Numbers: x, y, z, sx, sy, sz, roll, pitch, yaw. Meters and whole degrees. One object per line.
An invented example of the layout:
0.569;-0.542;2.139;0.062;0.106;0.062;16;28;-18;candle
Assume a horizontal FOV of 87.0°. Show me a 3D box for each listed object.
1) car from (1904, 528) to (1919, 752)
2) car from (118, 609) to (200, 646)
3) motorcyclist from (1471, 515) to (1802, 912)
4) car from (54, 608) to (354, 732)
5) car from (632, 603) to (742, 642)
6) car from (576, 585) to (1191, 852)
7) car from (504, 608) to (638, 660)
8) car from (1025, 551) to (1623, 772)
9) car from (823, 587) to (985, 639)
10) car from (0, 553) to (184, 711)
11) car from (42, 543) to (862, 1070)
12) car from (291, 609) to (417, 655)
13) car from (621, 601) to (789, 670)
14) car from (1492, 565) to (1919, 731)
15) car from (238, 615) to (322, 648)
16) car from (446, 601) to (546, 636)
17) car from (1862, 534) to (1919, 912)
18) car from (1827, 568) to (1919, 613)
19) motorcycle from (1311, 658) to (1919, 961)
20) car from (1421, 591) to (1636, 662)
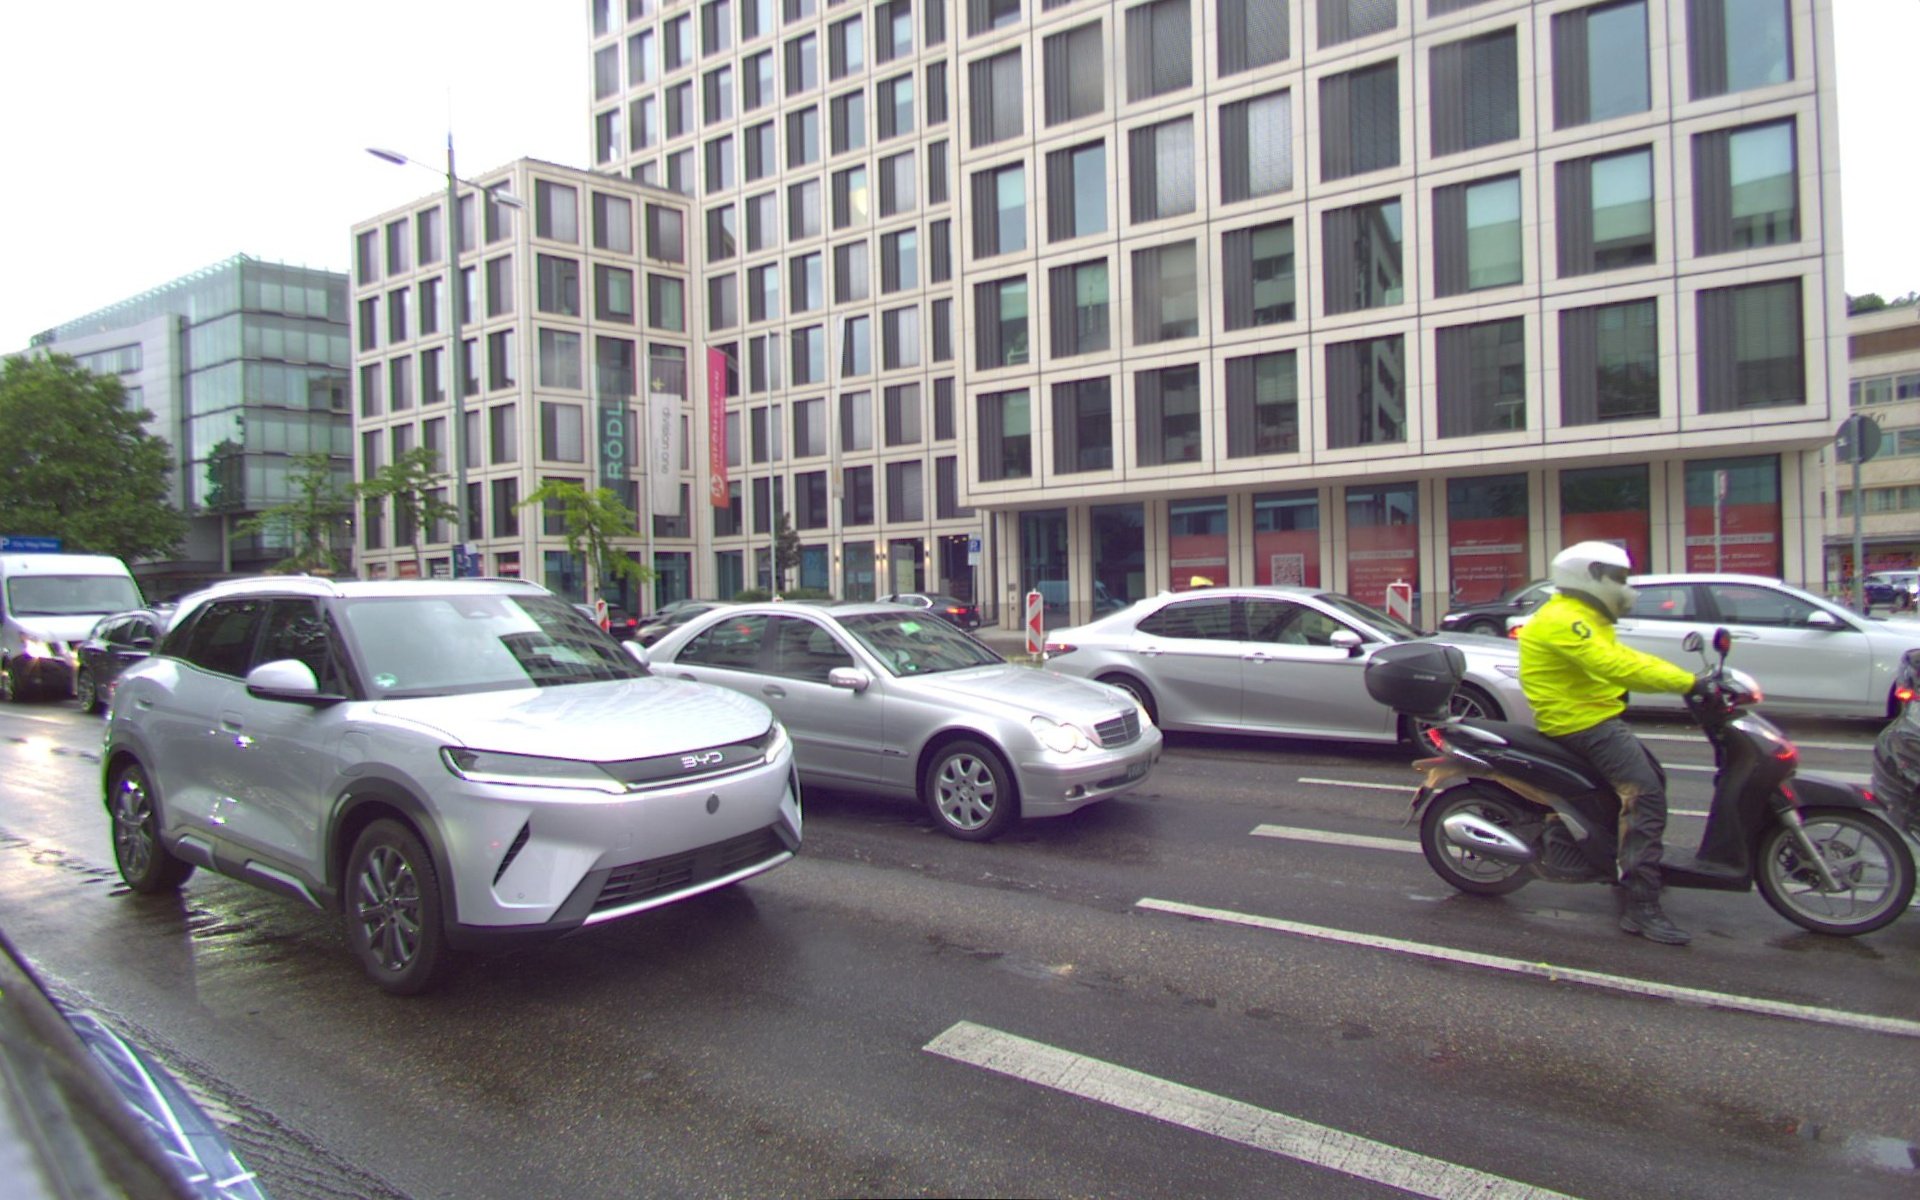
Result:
8.453;0.293;5.895;3.982;1.628;1.722;-1;1;29;car
-47.334;1.622;59.812;4.892;2.029;1.981;-1;1;28;car
2.898;0.418;4.470;1.096;1.486;0.935;-1;1;30;motorcyclist
-10.471;0.852;13.960;4.227;1.412;1.886;-1;1;32;car
-10.318;0.850;38.173;3.937;1.435;1.687;-1;-1;28;car
-0.713;0.642;7.399;4.372;1.414;1.718;0;1;34;car
-12.359;1.063;32.116;4.172;1.530;1.687;-1;-1;29;car
3.104;0.414;9.142;4.790;1.532;1.815;0;1;35;car
-1.851;0.450;32.922;5.160;1.581;1.687;-1;-1;29;car
-16.129;0.466;17.918;5.708;2.403;2.234;0;1;36;car
-2.697;0.647;5.091;4.157;1.673;1.794;0;1;32;car
-19.859;1.046;33.132;4.121;1.435;1.687;-1;-1;28;car
-6.434;0.864;25.491;3.979;1.586;1.688;-1;1;27;car
7.577;0.391;9.952;3.983;1.383;1.768;0;1;35;car
-31.909;1.466;47.495;3.668;1.530;1.688;-1;-1;26;car
-20.000;0.814;43.608;4.354;1.435;1.687;-1;-1;28;car
6.104;0.475;2.934;4.991;1.526;1.871;0;1;35;car
39.054;-0.380;42.060;1.975;1.752;5.028;-1;0;5;car
2.847;0.802;4.509;2.285;0.997;0.935;-1;1;30;motorcycle
12.301;0.569;22.120;3.937;1.435;1.687;-1;-1;28;car
